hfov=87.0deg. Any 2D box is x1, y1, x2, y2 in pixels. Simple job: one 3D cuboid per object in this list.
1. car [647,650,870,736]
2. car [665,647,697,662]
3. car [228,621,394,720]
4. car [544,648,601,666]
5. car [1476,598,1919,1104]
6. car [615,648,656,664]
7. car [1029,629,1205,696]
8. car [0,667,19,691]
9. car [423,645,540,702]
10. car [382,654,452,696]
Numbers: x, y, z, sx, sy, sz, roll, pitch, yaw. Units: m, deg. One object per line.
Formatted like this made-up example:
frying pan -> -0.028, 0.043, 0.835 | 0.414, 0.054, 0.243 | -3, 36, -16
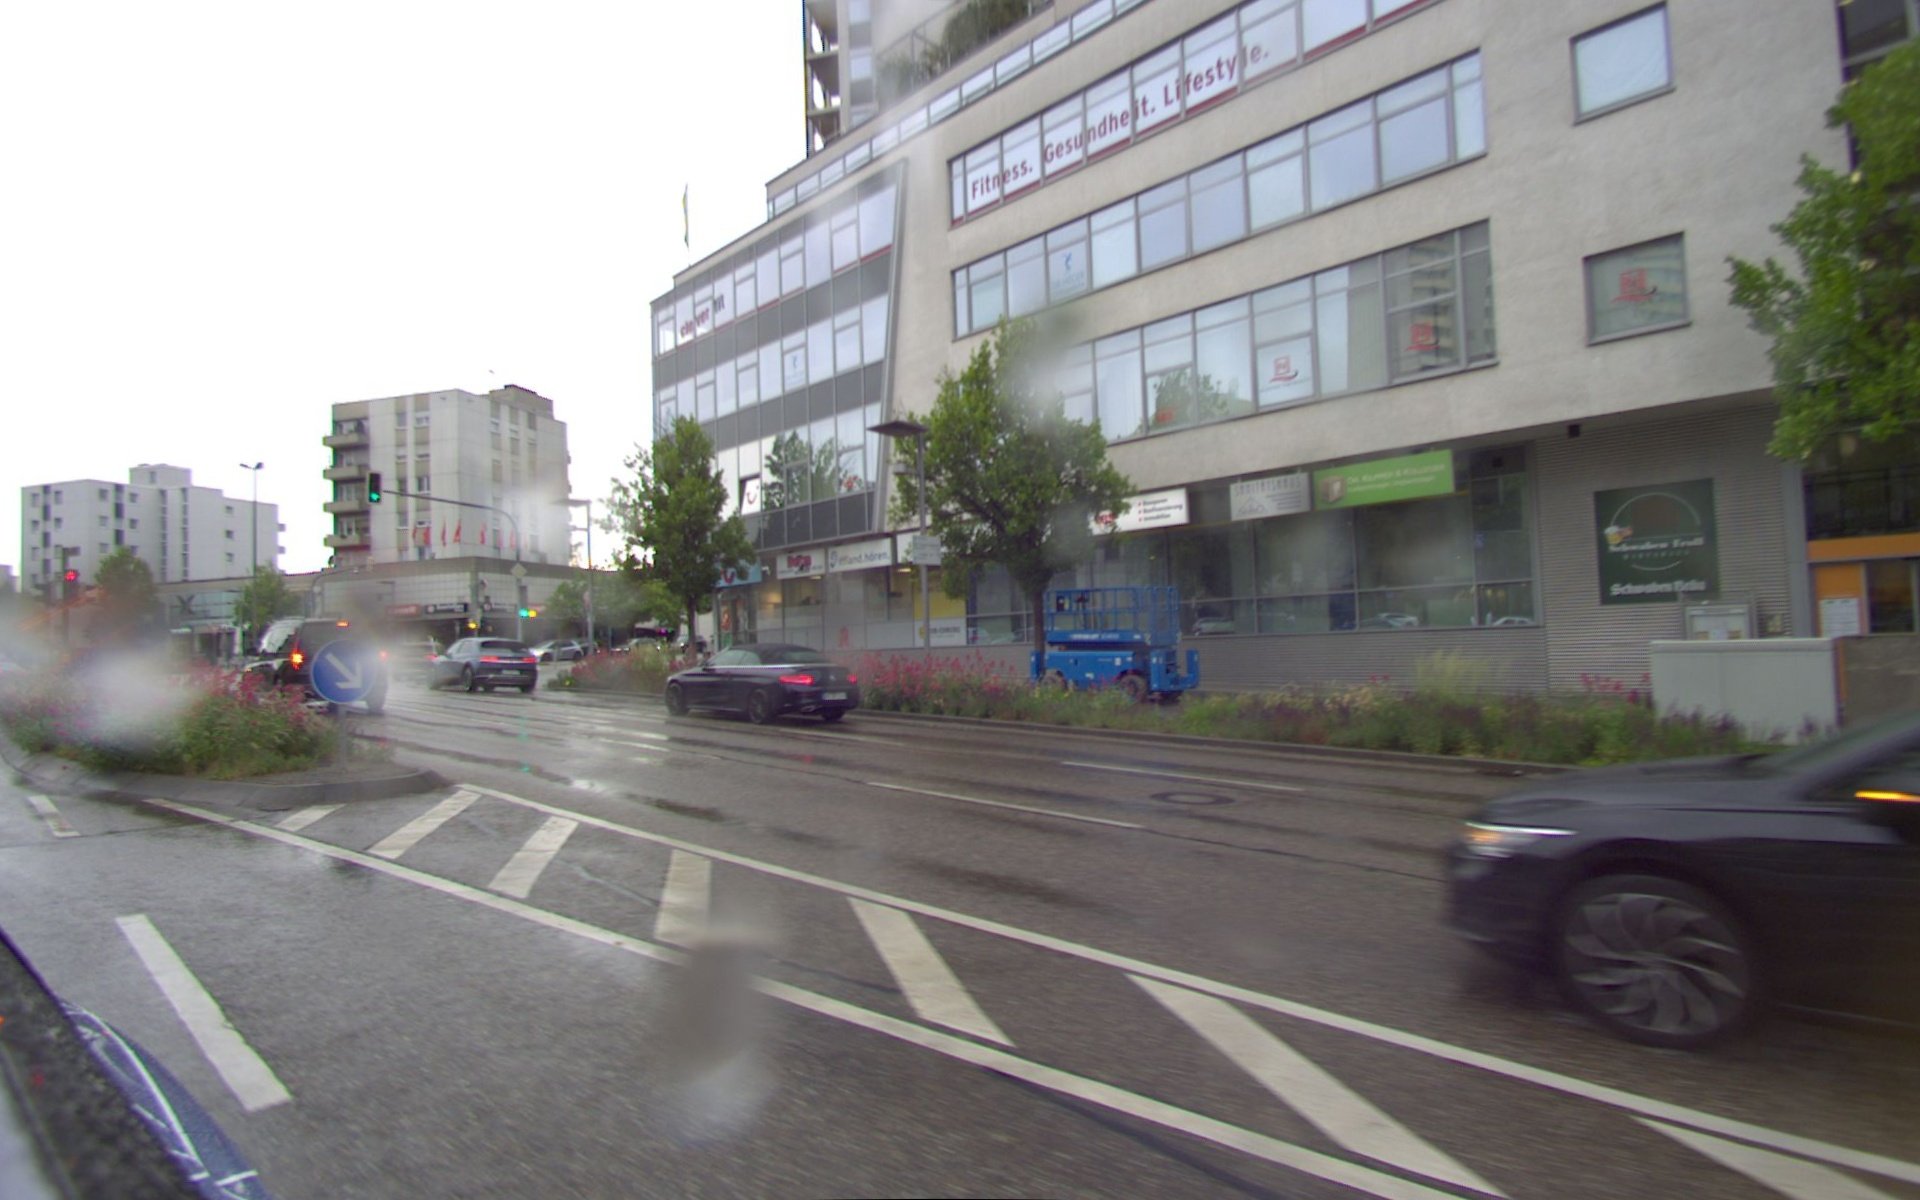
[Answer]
car -> -3.839, 1.633, 18.746 | 4.705, 1.356, 1.613 | -2, -4, 43
car -> -23.355, 4.547, 84.826 | 1.285, 1.142, 2.552 | -1, -2, 22
car -> -13.166, 1.385, 20.459 | 4.000, 1.804, 1.842 | -2, -4, 43
car -> -26.148, 3.853, 68.410 | 1.414, 1.145, 3.650 | -1, -2, 24
car -> 4.185, 0.754, 3.056 | 4.390, 1.528, 1.688 | -2, -3, 42
car -> -25.357, 4.361, 79.043 | 1.436, 1.202, 3.048 | -1, -2, 22
car -> 3.546, 1.387, 23.286 | 1.733, 1.421, 3.733 | 2, -3, -44
car -> -66.491, 5.451, 69.851 | 4.419, 1.554, 1.727 | -2, -3, 41
car -> -14.242, 2.131, 30.035 | 1.894, 1.560, 4.004 | 3, -4, -45
car -> -22.736, 3.099, 42.514 | 1.656, 1.639, 4.210 | 1, -3, -15
